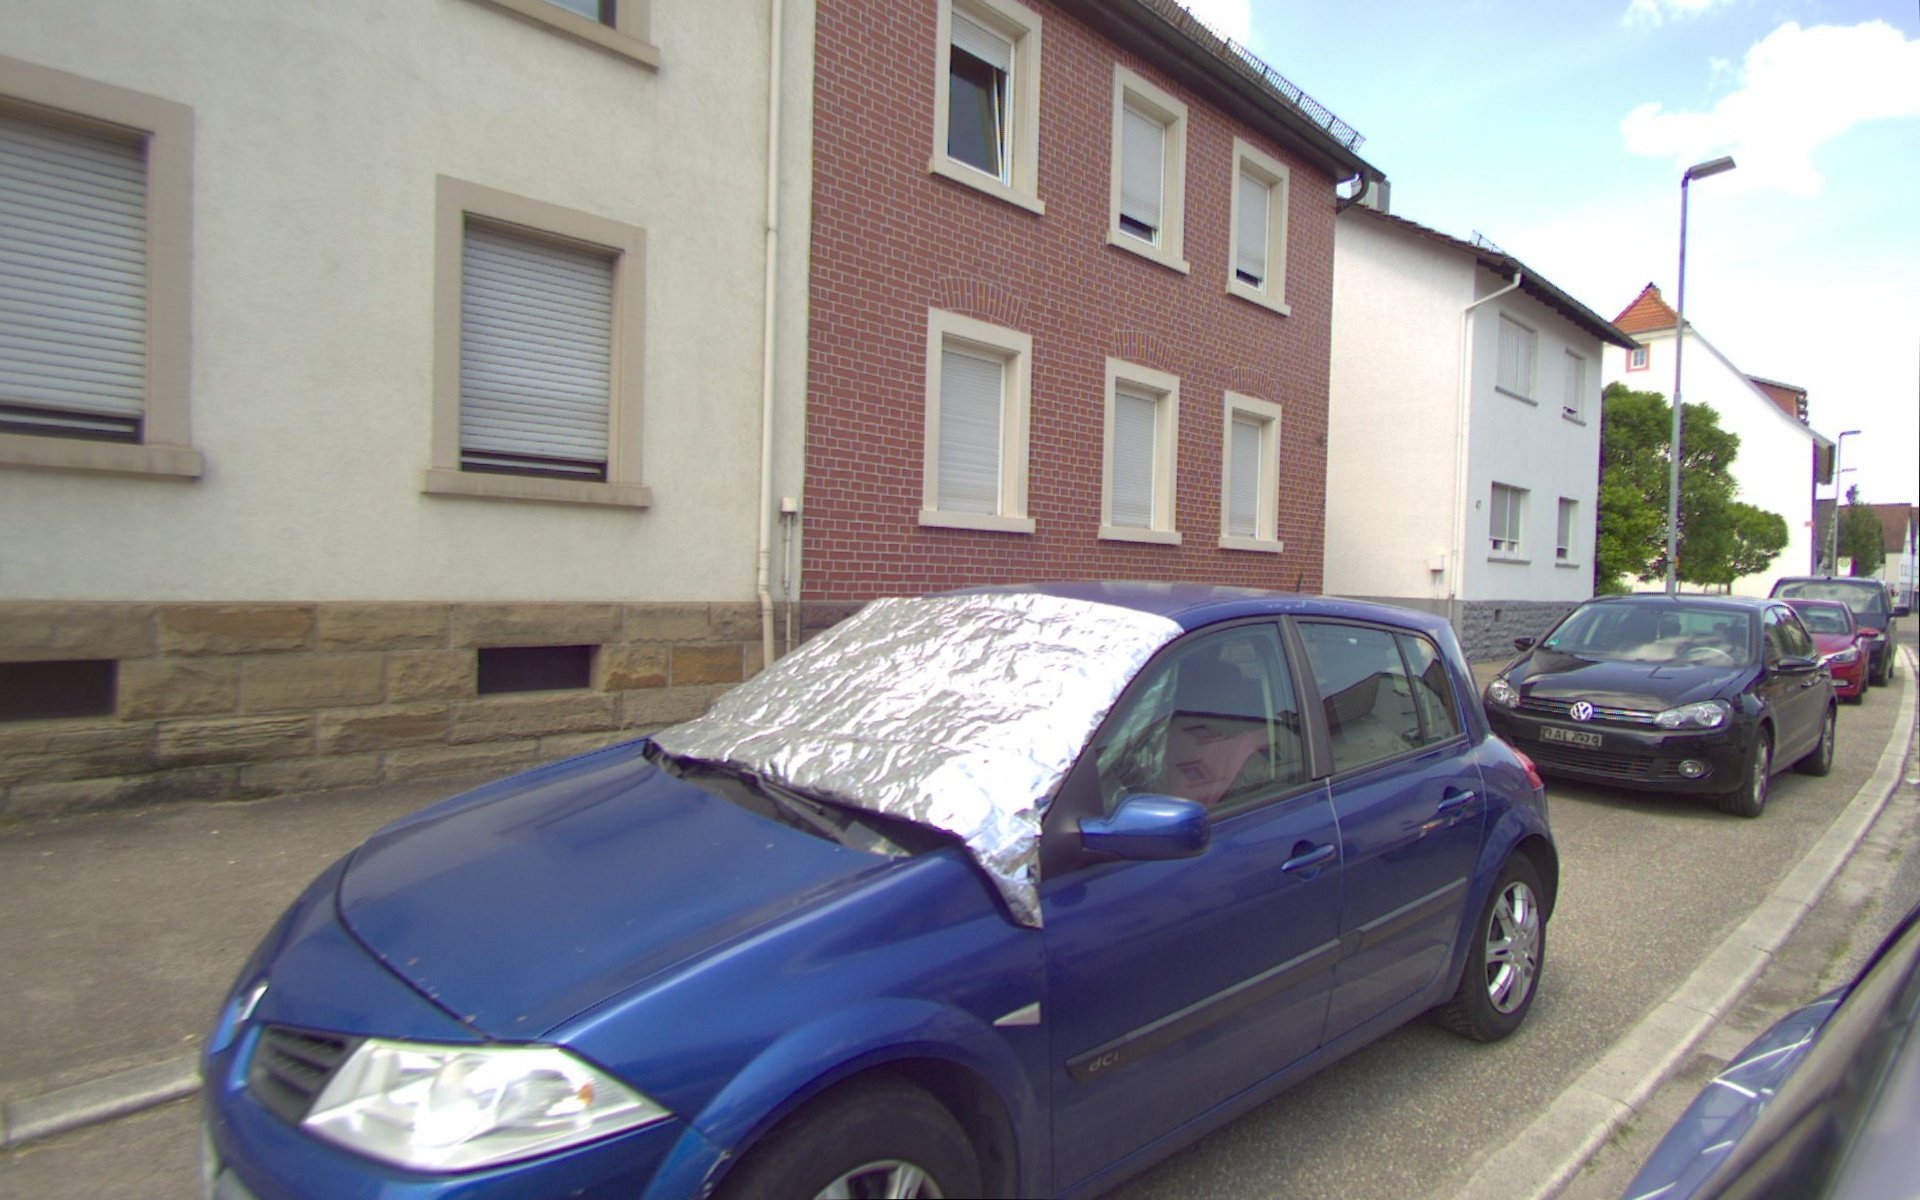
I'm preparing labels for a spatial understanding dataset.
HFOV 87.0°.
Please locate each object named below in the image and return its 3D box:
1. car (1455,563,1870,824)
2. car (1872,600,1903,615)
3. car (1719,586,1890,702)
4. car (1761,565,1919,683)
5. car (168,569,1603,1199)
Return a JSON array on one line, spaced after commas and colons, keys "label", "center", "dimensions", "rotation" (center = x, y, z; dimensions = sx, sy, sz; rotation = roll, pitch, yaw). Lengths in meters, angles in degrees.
[{"label": "car", "center": [5.681, 0.604, 8.000], "dimensions": [3.929, 1.549, 1.771], "rotation": [3, 0, -41]}, {"label": "car", "center": [92.078, 0.686, 100.462], "dimensions": [3.934, 1.369, 1.995], "rotation": [-2, 1, -44]}, {"label": "car", "center": [13.222, 0.576, 15.745], "dimensions": [1.739, 1.522, 4.486], "rotation": [2, 1, 44]}, {"label": "car", "center": [16.878, 0.337, 19.243], "dimensions": [5.160, 1.939, 1.927], "rotation": [-2, 1, -44]}, {"label": "car", "center": [0.185, 0.625, 2.977], "dimensions": [3.929, 1.402, 1.727], "rotation": [-1, 3, -39]}]
